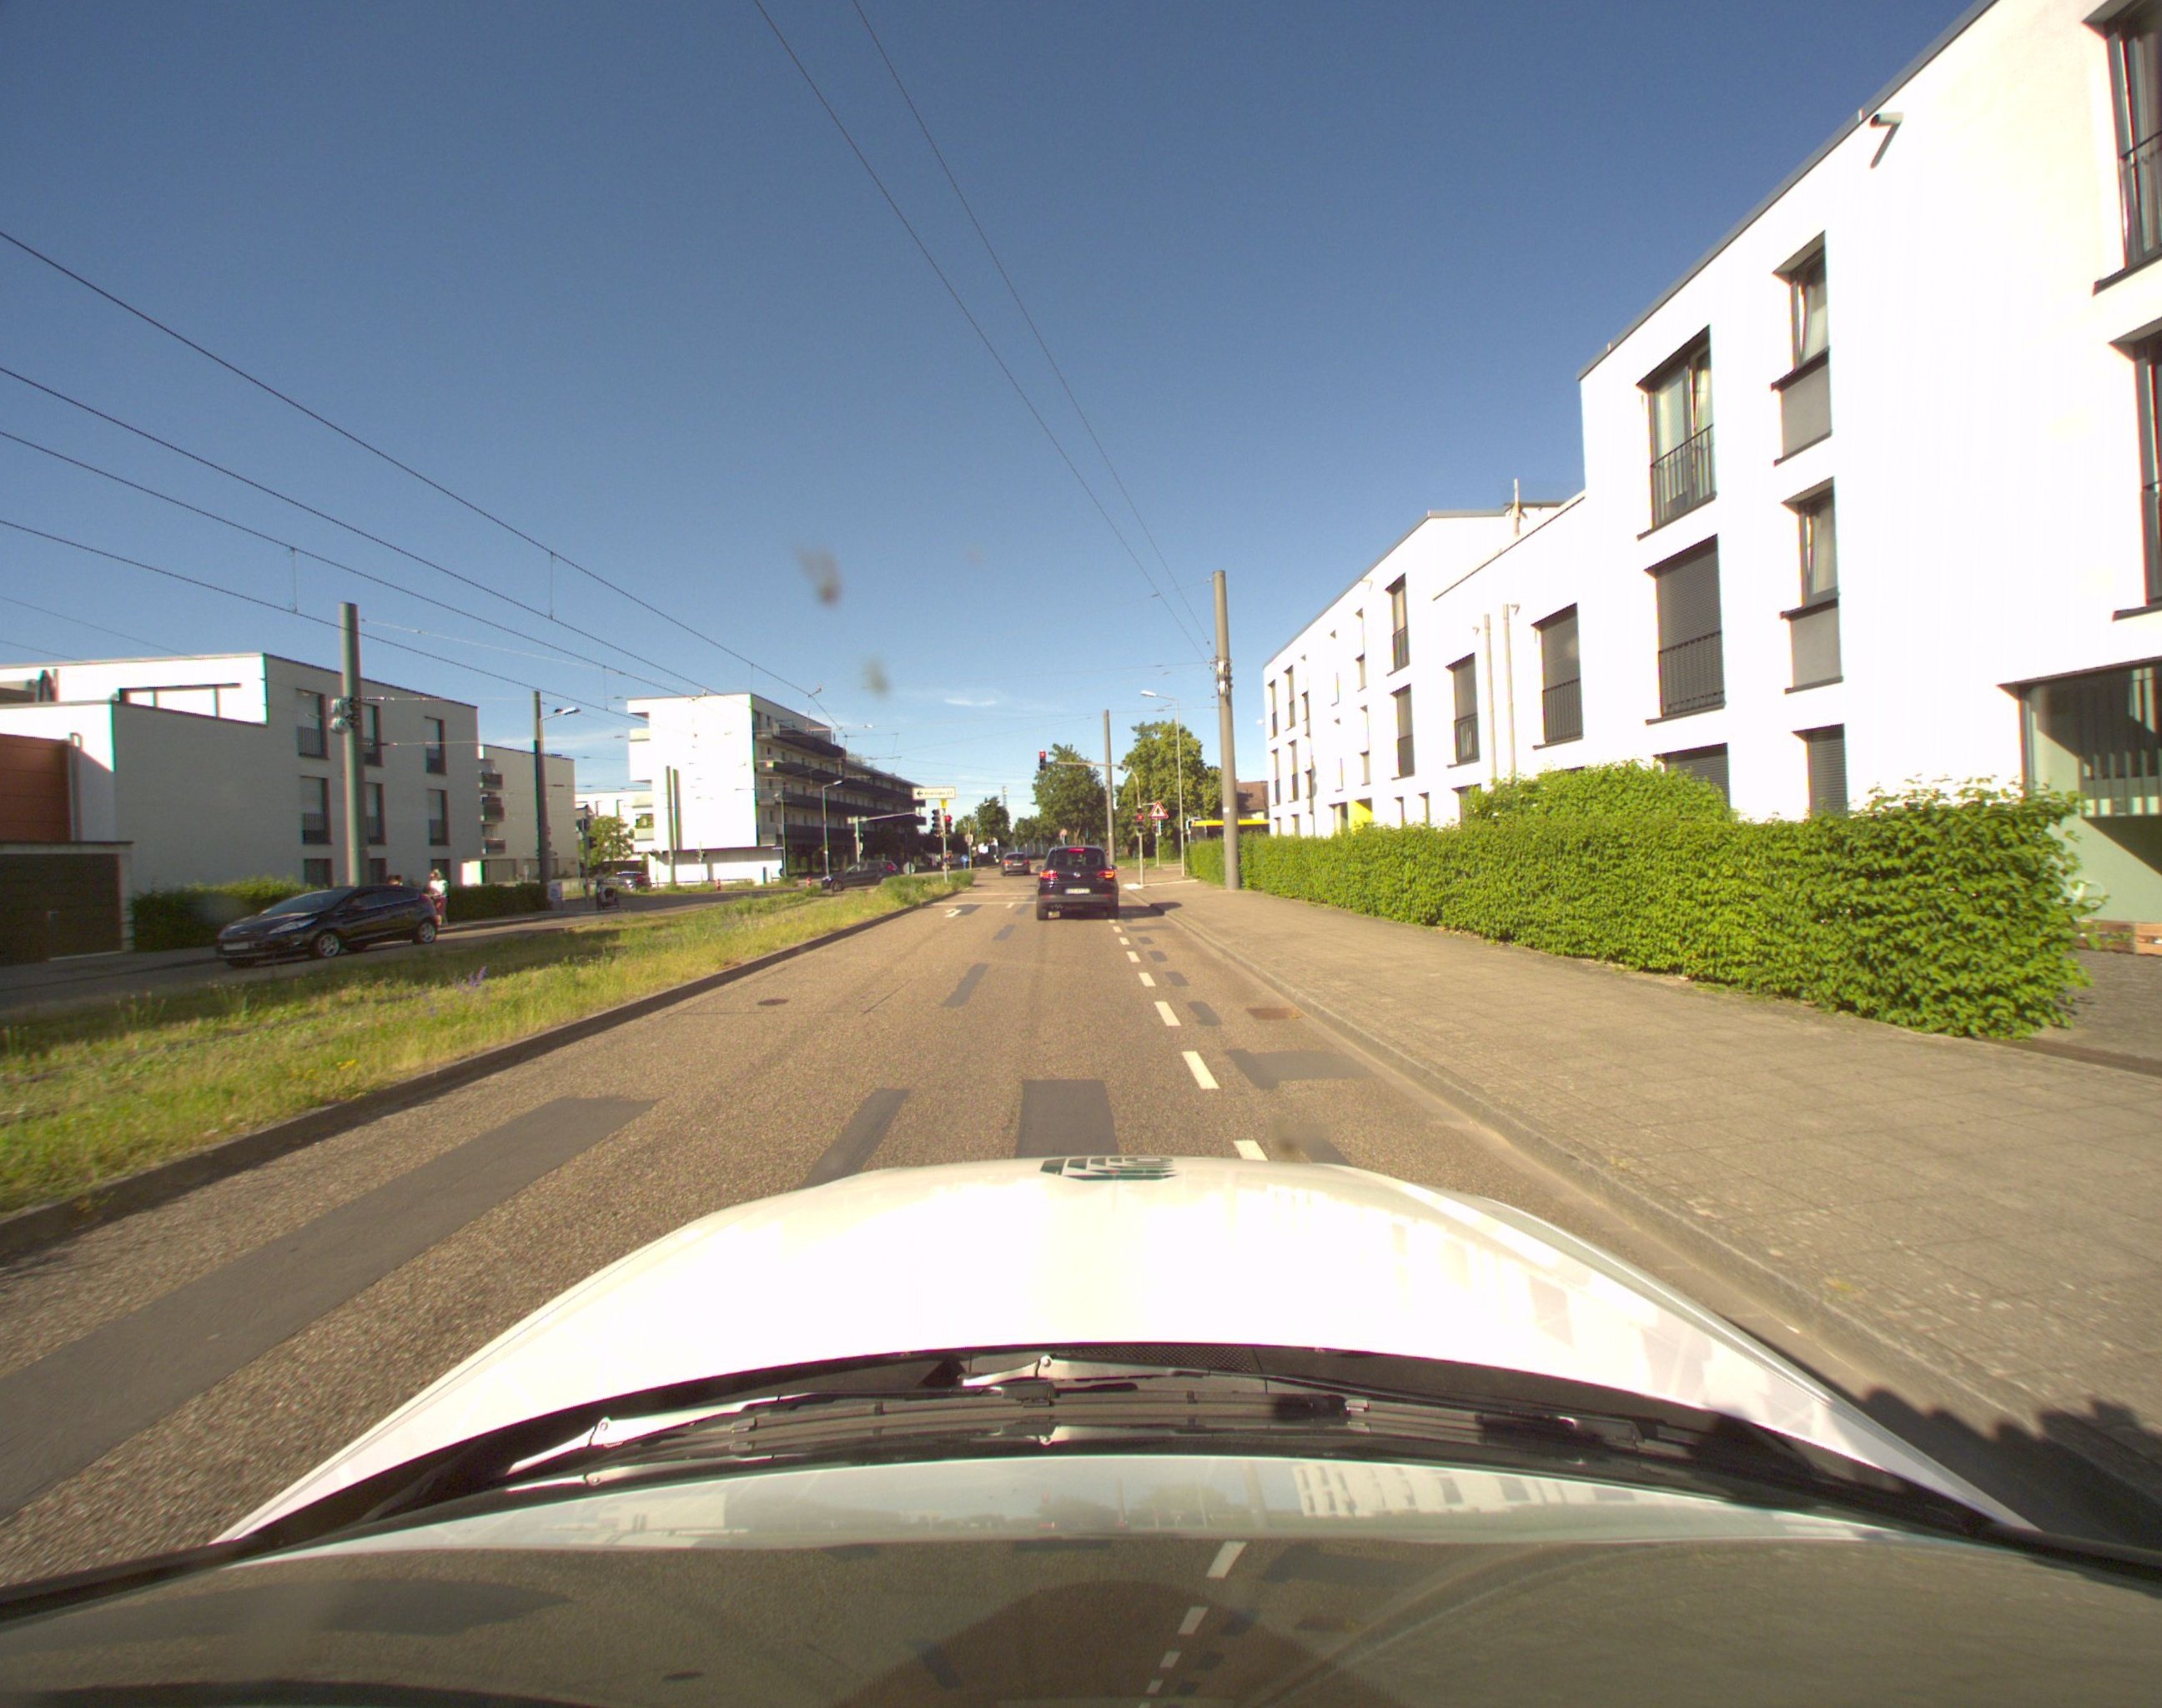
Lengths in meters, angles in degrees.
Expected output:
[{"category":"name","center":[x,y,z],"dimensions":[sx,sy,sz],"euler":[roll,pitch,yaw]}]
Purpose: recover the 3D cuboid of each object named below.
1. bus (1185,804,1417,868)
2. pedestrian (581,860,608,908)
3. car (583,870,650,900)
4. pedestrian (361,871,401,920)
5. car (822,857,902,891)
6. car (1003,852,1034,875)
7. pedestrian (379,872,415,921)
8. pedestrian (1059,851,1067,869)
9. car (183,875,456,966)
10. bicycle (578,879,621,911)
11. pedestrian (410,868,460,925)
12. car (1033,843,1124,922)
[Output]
[{"category":"bus","center":[13.746,-1.165,50.495],"dimensions":[14.670,3.671,2.831],"euler":[-1,0,-17]},{"category":"pedestrian","center":[-20.456,1.249,34.242],"dimensions":[0.762,2.013,0.666],"euler":[-1,0,-14]},{"category":"car","center":[-36.032,2.373,63.334],"dimensions":[3.990,2.013,1.992],"euler":[-3,0,-12]},{"category":"pedestrian","center":[-21.591,1.281,25.116],"dimensions":[0.555,1.464,0.743],"euler":[-1,0,1]},{"category":"car","center":[-11.280,1.008,42.222],"dimensions":[3.727,1.430,1.704],"euler":[-4,0,-9]},{"category":"car","center":[-3.963,0.576,52.228],"dimensions":[1.746,1.387,3.997],"euler":[-1,0,-2]},{"category":"pedestrian","center":[-21.067,1.306,25.094],"dimensions":[0.555,1.464,0.612],"euler":[-1,0,2]},{"category":"pedestrian","center":[-1.657,0.572,74.448],"dimensions":[0.600,1.640,0.529],"euler":[-1,0,4]},{"category":"car","center":[-15.436,1.264,16.862],"dimensions":[1.782,1.418,4.000],"euler":[-4,0,0]},{"category":"bicycle","center":[-20.626,1.717,34.976],"dimensions":[0.795,1.221,2.690],"euler":[-1,0,-13]},{"category":"pedestrian","center":[-20.498,1.328,25.864],"dimensions":[0.812,1.748,0.911],"euler":[-1,0,5]},{"category":"car","center":[-0.108,0.588,19.308],"dimensions":[1.900,1.643,3.997],"euler":[-1,0,-2]}]
